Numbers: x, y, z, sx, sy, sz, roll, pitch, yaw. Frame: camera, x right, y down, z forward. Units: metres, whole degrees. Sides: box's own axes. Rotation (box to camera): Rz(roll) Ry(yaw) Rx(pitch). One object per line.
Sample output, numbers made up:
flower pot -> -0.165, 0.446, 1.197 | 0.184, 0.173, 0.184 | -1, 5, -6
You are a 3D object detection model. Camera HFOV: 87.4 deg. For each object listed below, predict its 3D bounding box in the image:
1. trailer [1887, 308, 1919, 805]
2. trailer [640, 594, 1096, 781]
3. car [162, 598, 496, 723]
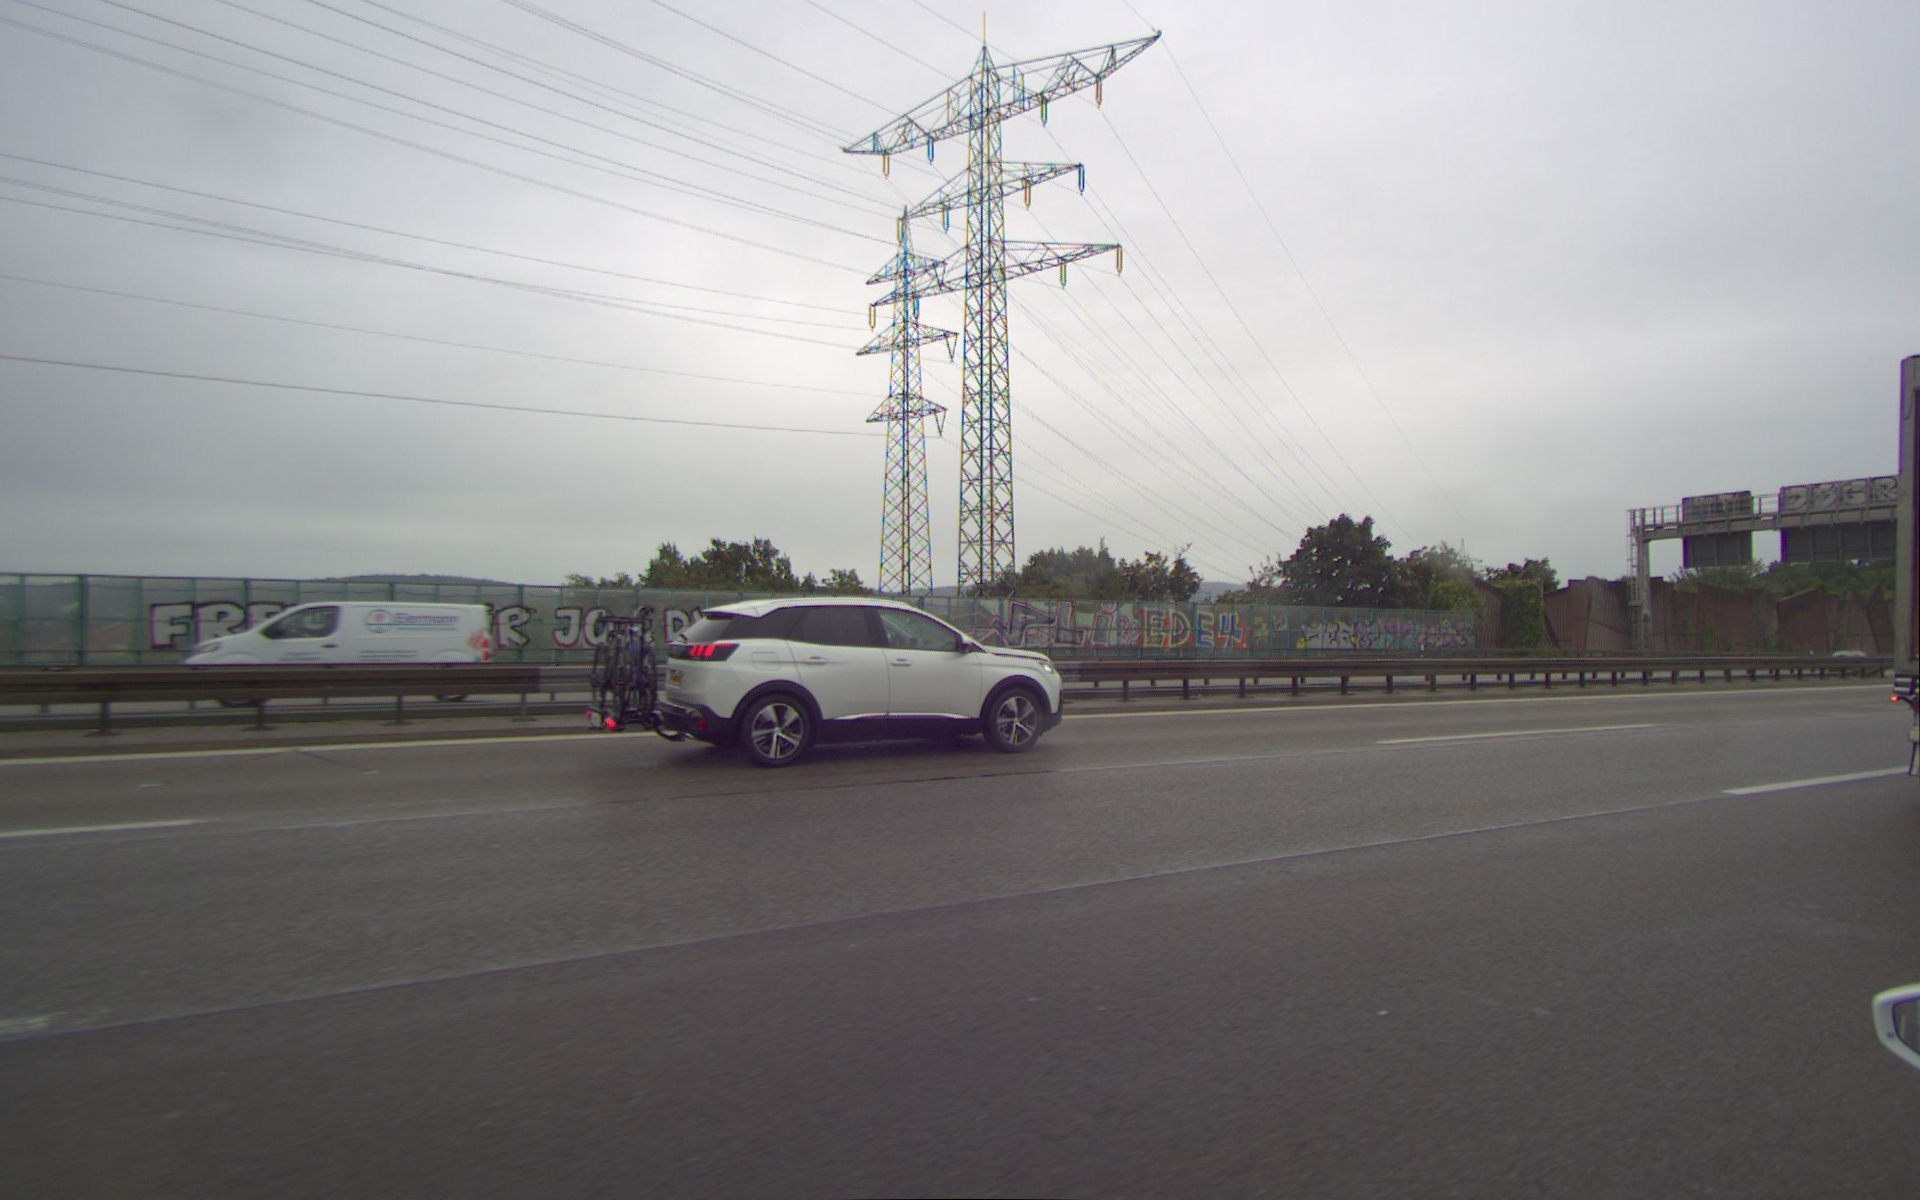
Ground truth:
trailer -> 14.990, -0.203, 11.168 | 14.644, 4.213, 2.332 | 1, 0, -29
trailer -> -0.911, 0.830, 10.723 | 4.512, 1.646, 1.807 | 1, -1, -29
car -> -11.425, 1.057, 18.617 | 4.953, 2.040, 1.984 | 2, 0, -30
